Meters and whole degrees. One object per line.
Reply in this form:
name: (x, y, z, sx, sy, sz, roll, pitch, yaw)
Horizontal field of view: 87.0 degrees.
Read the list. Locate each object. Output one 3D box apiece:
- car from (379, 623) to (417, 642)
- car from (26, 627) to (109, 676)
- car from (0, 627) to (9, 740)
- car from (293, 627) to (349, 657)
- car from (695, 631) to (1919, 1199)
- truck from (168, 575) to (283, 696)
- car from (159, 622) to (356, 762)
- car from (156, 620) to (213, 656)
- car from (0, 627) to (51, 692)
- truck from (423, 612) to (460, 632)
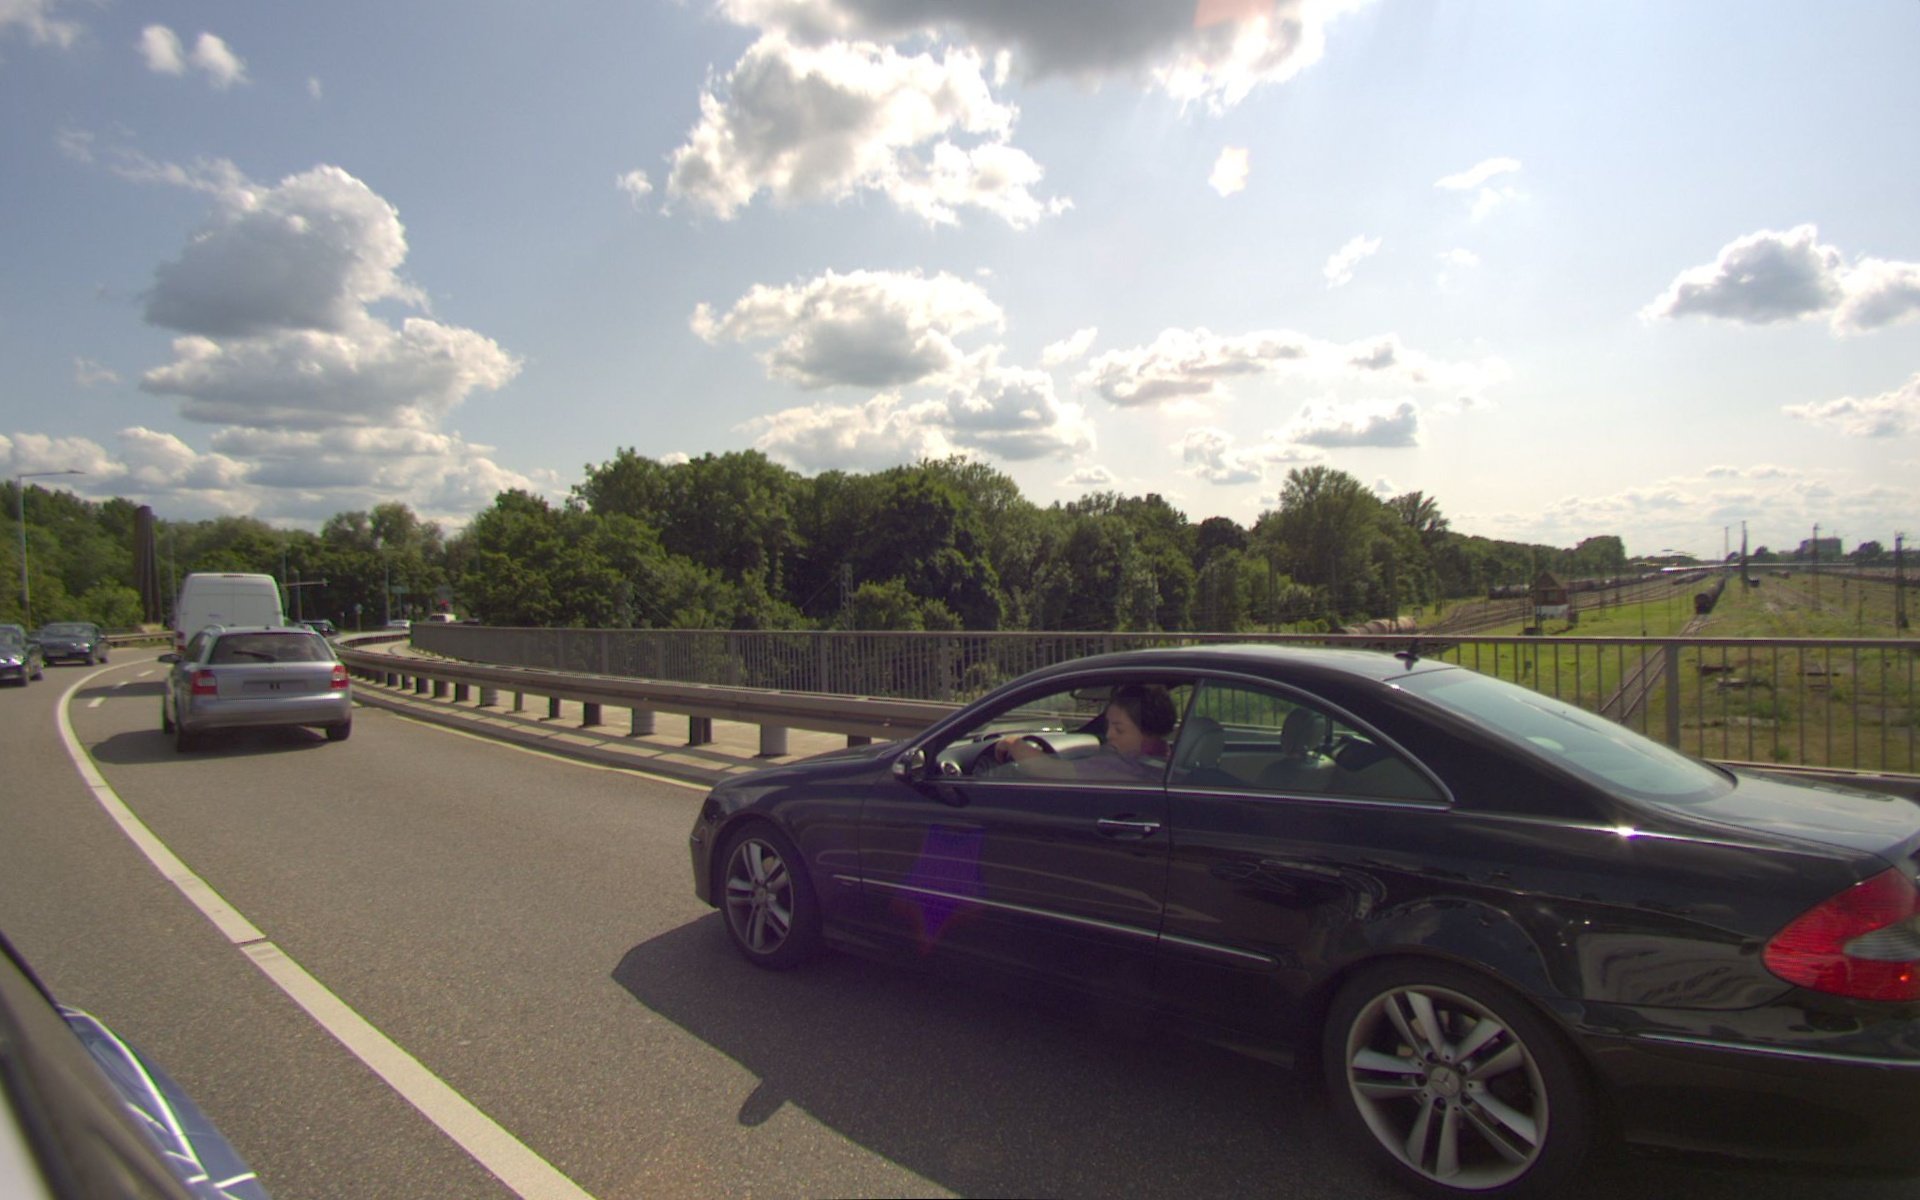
car: (-43.082, 2.459, 77.696, 1.769, 1.385, 4.594, 0, -1, -19)
car: (-29.976, 1.674, 34.110, 1.794, 1.347, 4.738, -4, 2, -38)
car: (-11.969, 1.037, 11.144, 1.767, 1.446, 4.378, 2, -2, -38)
car: (-33.771, 2.190, 53.578, 1.635, 1.465, 4.340, 0, -1, -20)
car: (0.996, 0.820, 3.650, 4.250, 1.355, 1.615, -1, -2, 40)
truck: (-17.532, 0.803, 24.015, 1.968, 2.527, 5.959, 1, -2, -38)
car: (-9.158, 1.033, 13.037, 1.744, 1.471, 4.305, 1, -1, -39)
car: (-40.699, 1.942, 53.180, 1.610, 1.524, 3.733, -3, 3, -26)
car: (-23.106, 1.376, 23.952, 1.828, 1.373, 4.010, 1, 0, -34)
truck: (-51.476, 2.203, 100.565, 1.935, 1.927, 5.382, 0, -1, -11)
